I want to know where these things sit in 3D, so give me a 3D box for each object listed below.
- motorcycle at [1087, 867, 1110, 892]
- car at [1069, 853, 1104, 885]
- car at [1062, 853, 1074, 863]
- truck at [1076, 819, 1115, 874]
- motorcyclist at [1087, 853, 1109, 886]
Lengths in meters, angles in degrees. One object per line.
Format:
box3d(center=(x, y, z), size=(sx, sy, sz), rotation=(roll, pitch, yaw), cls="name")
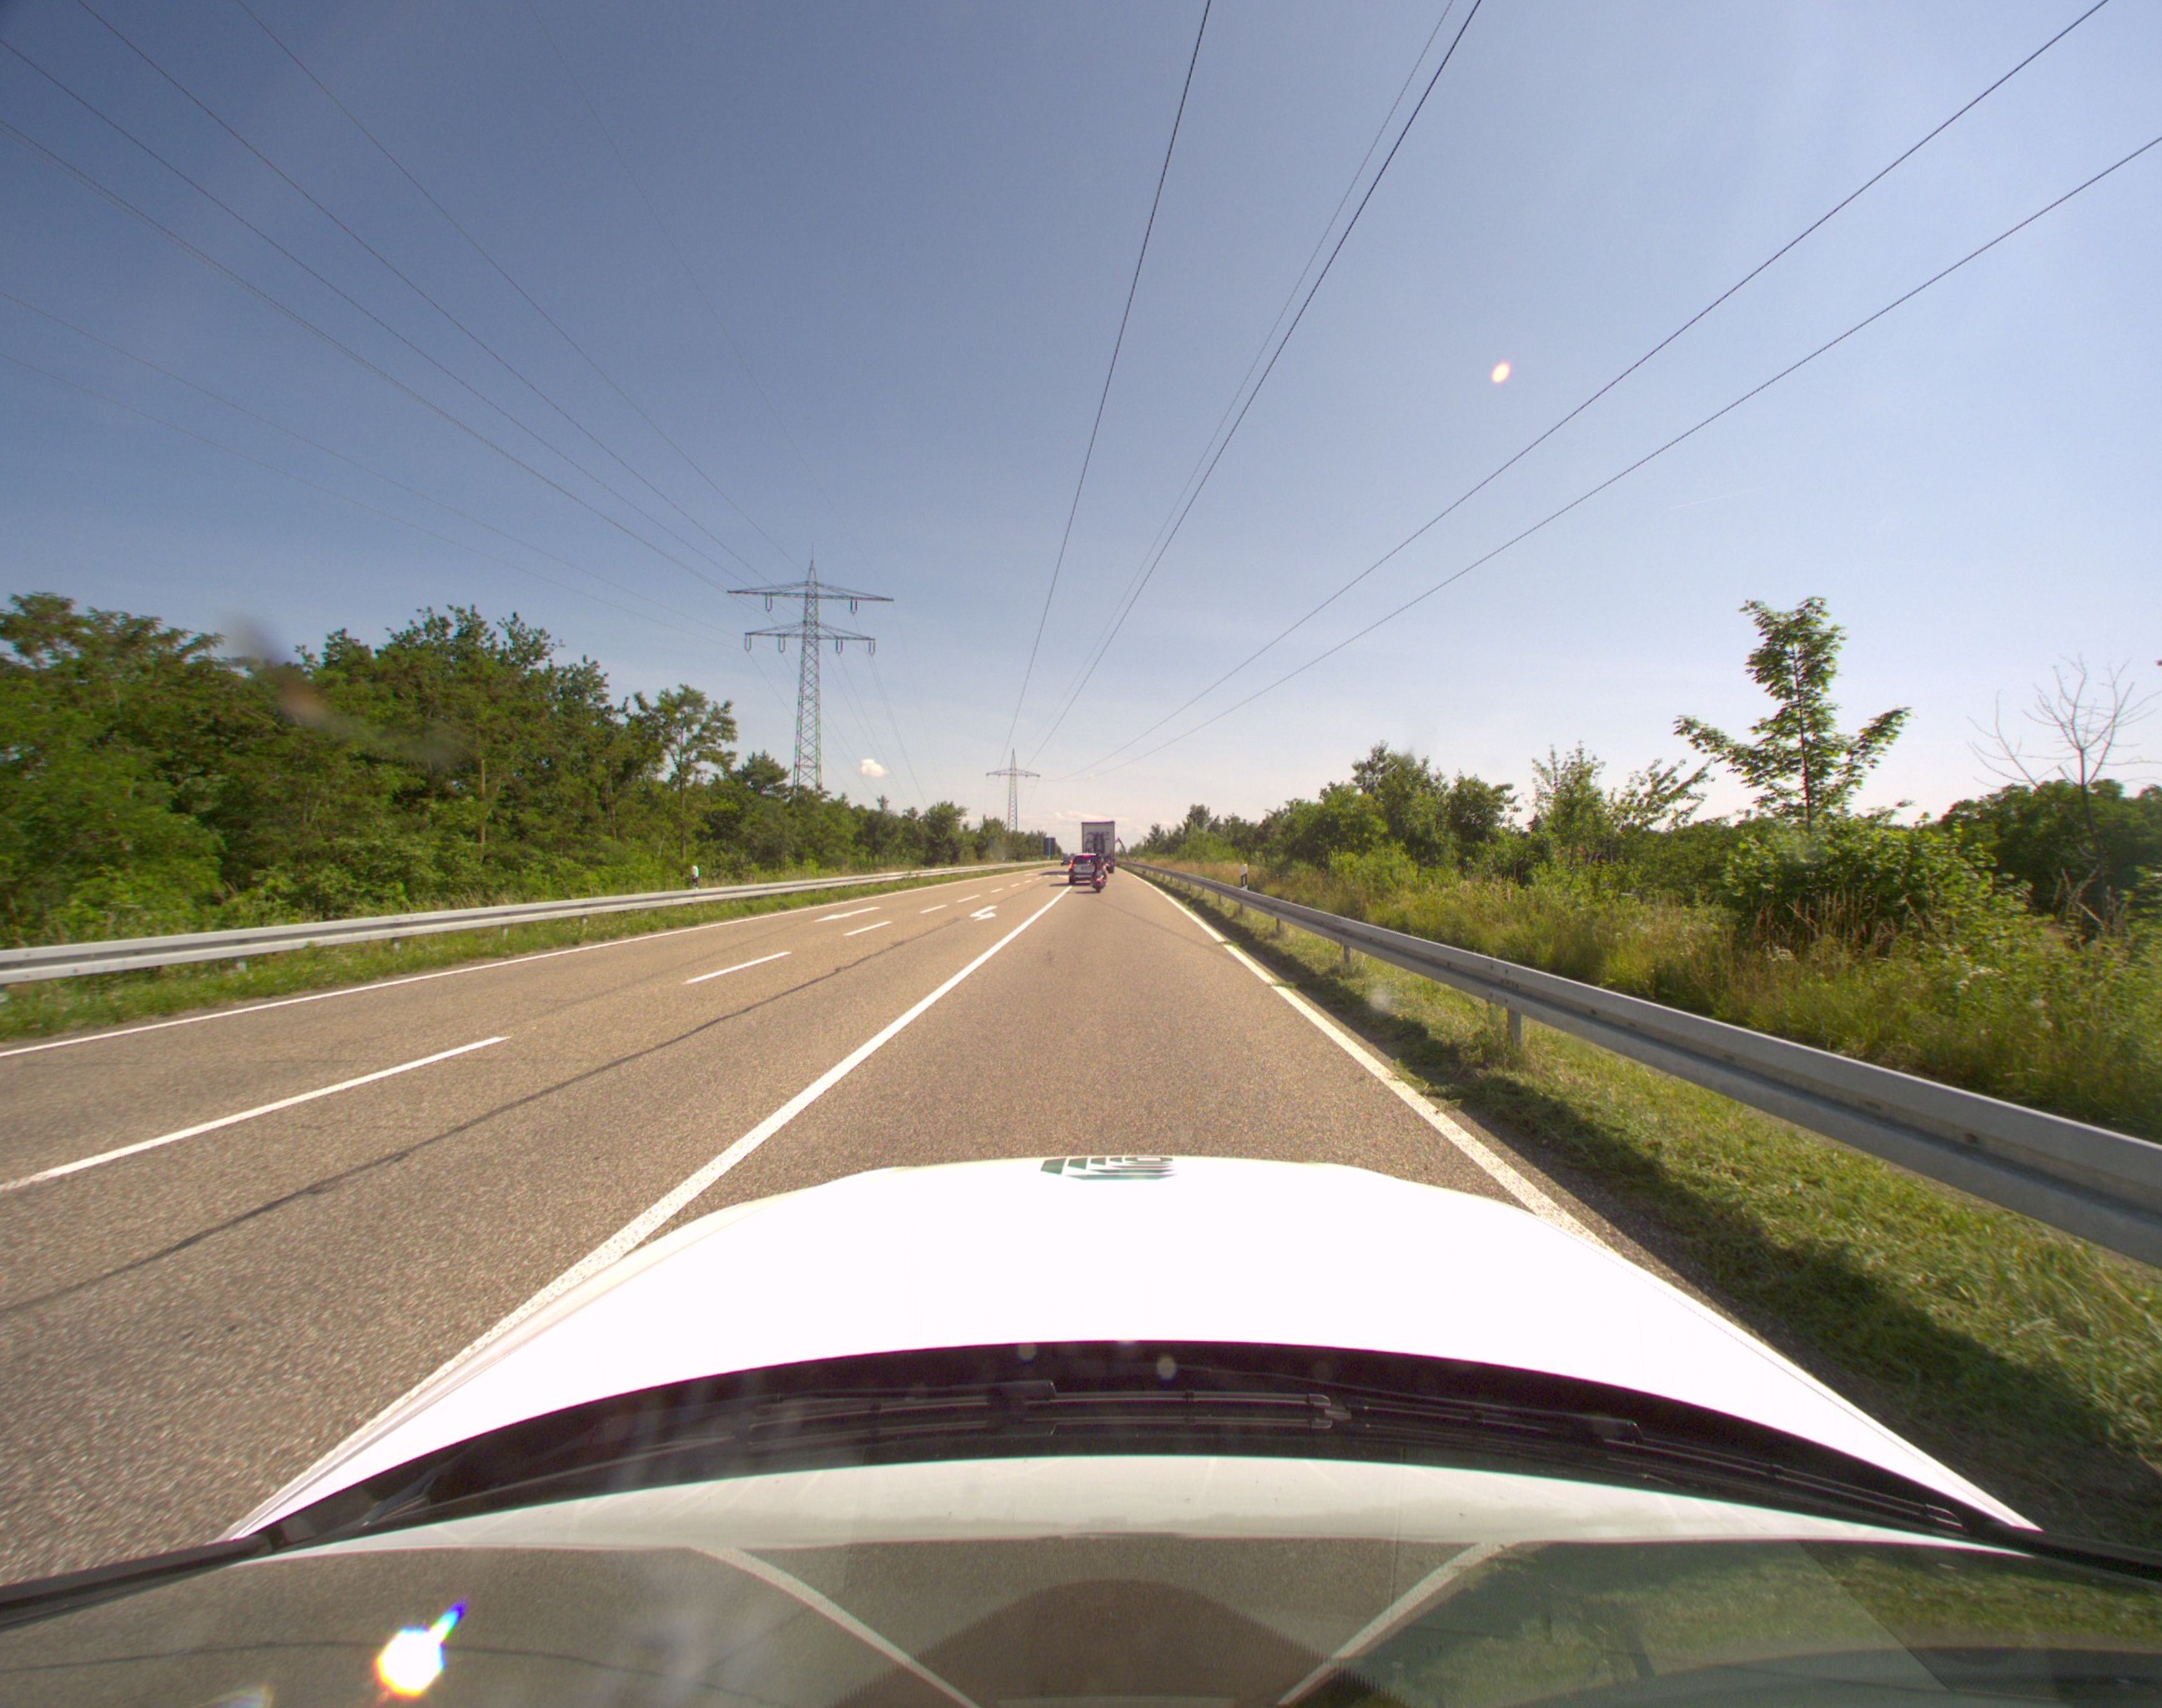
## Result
box3d(center=(0.674, 0.973, 32.042), size=(0.856, 0.915, 2.227), rotation=(0, 0, -1), cls="motorcycle")
box3d(center=(0.313, 0.725, 40.744), size=(1.695, 1.536, 3.500), rotation=(0, 0, 1), cls="car")
box3d(center=(-1.891, 0.619, 121.119), size=(1.721, 1.491, 4.423), rotation=(-1, 0, 1), cls="car")
box3d(center=(1.379, -0.593, 69.566), size=(2.956, 4.187, 14.829), rotation=(0, 0, 2), cls="truck")
box3d(center=(0.663, 0.605, 32.089), size=(0.835, 1.280, 0.919), rotation=(0, 0, -1), cls="motorcyclist")
